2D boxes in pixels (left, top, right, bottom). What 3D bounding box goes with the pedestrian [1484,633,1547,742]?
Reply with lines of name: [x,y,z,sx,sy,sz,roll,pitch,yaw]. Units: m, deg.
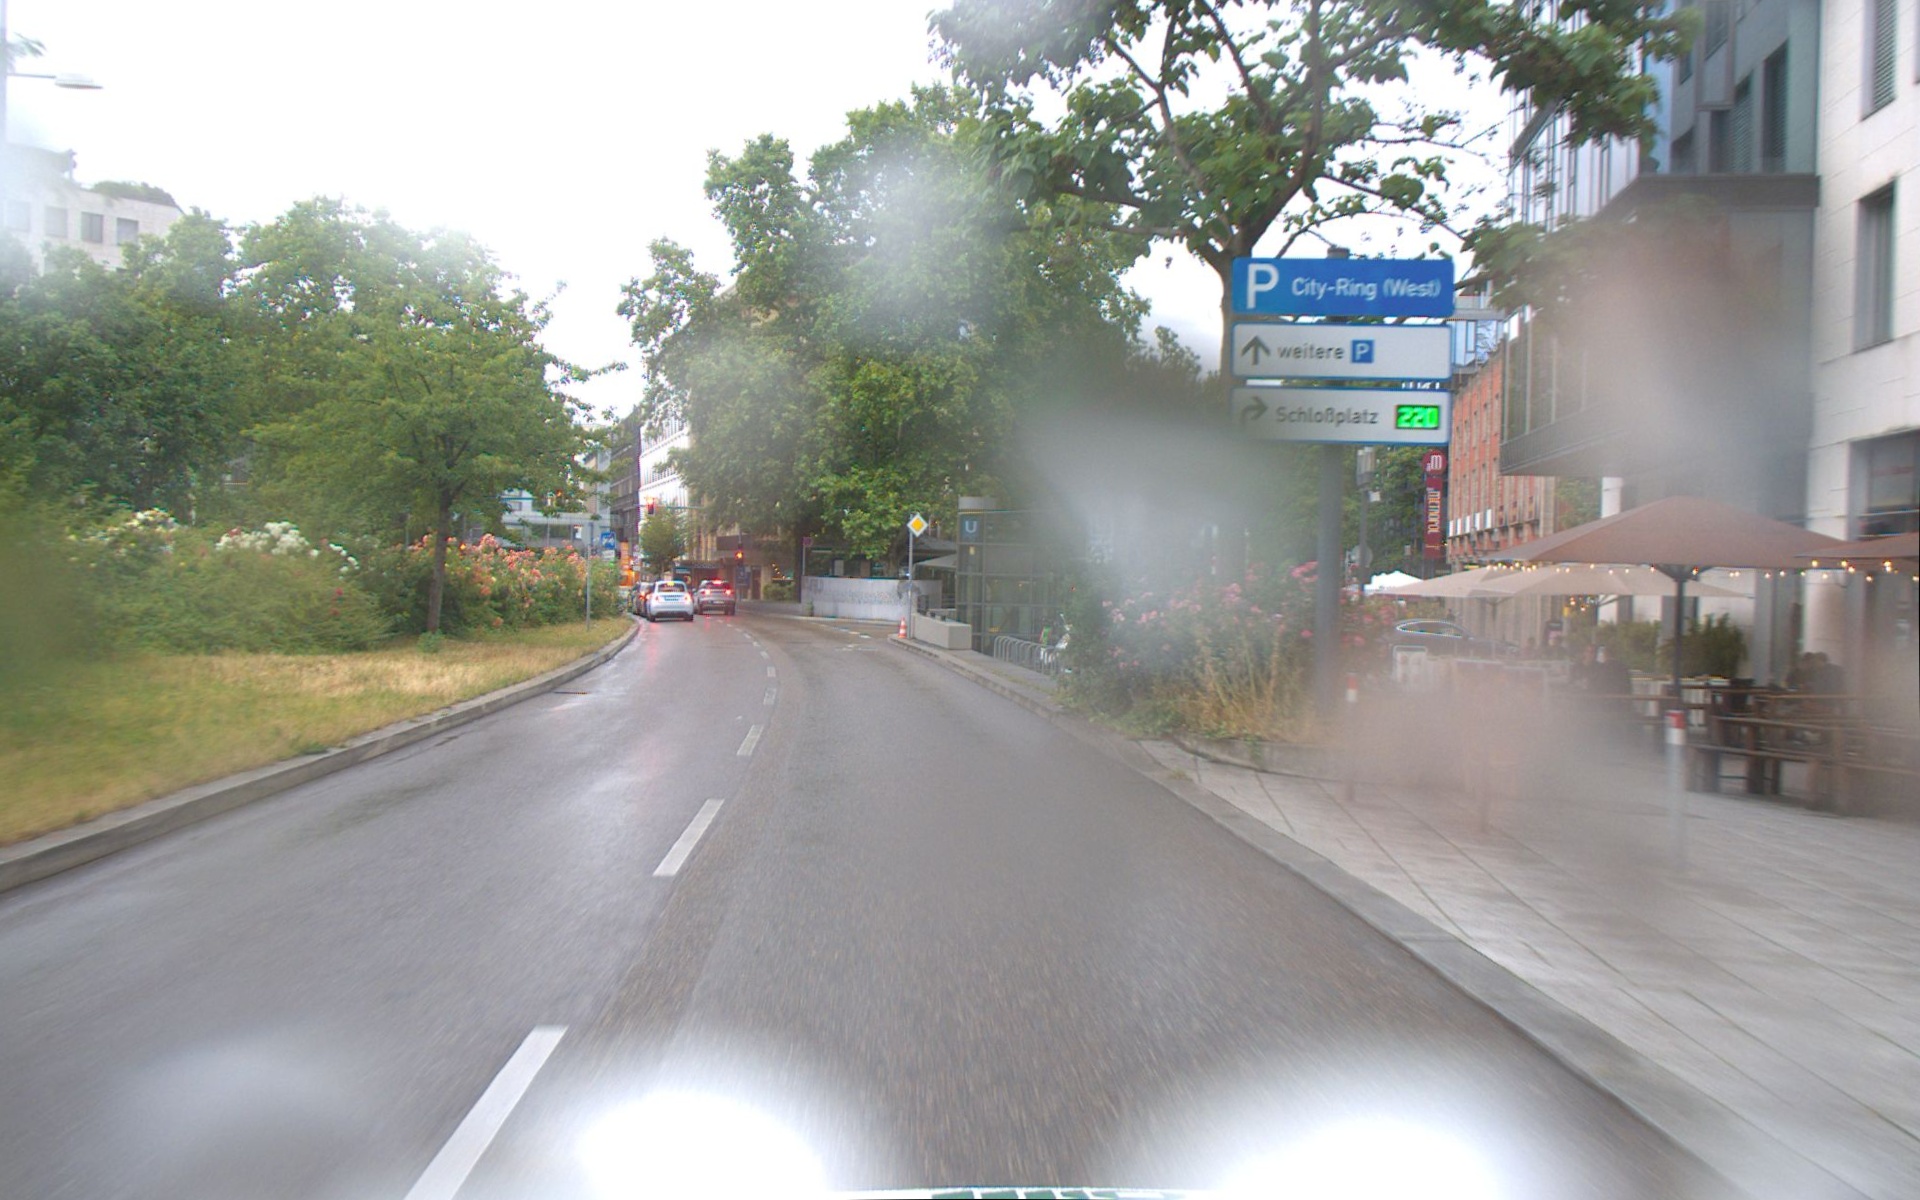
pedestrian: [7.228,1.131,21.529,0.593,1.349,0.568,3,0,6]

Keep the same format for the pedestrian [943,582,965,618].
pedestrian: [-0.253,-0.005,67.782,0.672,1.434,0.903,3,-1,-9]

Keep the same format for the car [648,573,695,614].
car: [-11.240,-0.256,64.229,1.563,1.517,3.493,-1,1,-13]

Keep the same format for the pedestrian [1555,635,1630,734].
pedestrian: [9.198,1.216,24.071,0.800,1.349,0.636,3,0,6]

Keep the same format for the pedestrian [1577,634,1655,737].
pedestrian: [9.134,1.174,23.050,0.800,1.349,0.636,3,0,6]

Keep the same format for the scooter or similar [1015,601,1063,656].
scooter or similar: [1.926,0.704,40.557,1.092,1.291,0.364,2,0,-9]

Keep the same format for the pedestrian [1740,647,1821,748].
pedestrian: [11.719,1.381,23.636,0.800,1.349,0.636,3,0,5]

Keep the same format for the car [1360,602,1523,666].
car: [14.942,1.045,51.566,4.634,1.720,2.007,2,1,9]

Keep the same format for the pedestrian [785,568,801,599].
pedestrian: [-9.658,-0.947,95.791,0.843,1.811,0.716,1,0,-11]

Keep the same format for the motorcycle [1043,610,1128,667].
motorcycle: [2.763,0.851,36.432,1.744,1.178,0.606,2,1,-9]

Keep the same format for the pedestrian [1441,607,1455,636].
pedestrian: [29.214,1.309,98.975,0.634,1.690,0.651,3,0,9]

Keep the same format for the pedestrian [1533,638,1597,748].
pedestrian: [7.848,1.196,21.474,0.593,1.349,0.568,3,0,6]

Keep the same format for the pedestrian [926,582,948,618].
pedestrian: [-0.944,-0.013,67.621,0.672,1.434,0.903,3,-1,-9]

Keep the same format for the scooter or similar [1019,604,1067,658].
scooter or similar: [2.011,0.746,40.132,1.092,1.256,0.364,2,0,-9]

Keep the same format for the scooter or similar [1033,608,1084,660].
scooter or similar: [2.309,0.792,38.774,1.092,1.178,0.442,2,0,-9]

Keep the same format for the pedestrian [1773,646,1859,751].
pedestrian: [11.760,1.341,22.737,0.800,1.349,0.636,3,0,6]

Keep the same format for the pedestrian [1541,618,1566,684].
pedestrian: [13.158,1.125,36.650,0.425,1.428,0.478,1,0,8]

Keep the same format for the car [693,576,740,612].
car: [-11.988,-0.297,81.209,1.913,1.695,4.330,2,0,-13]

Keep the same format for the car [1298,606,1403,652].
car: [14.006,1.023,59.430,1.595,1.440,3.488,3,1,-34]

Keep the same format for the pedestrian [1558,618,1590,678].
pedestrian: [19.621,1.527,52.877,0.596,1.840,0.807,3,0,-6]
